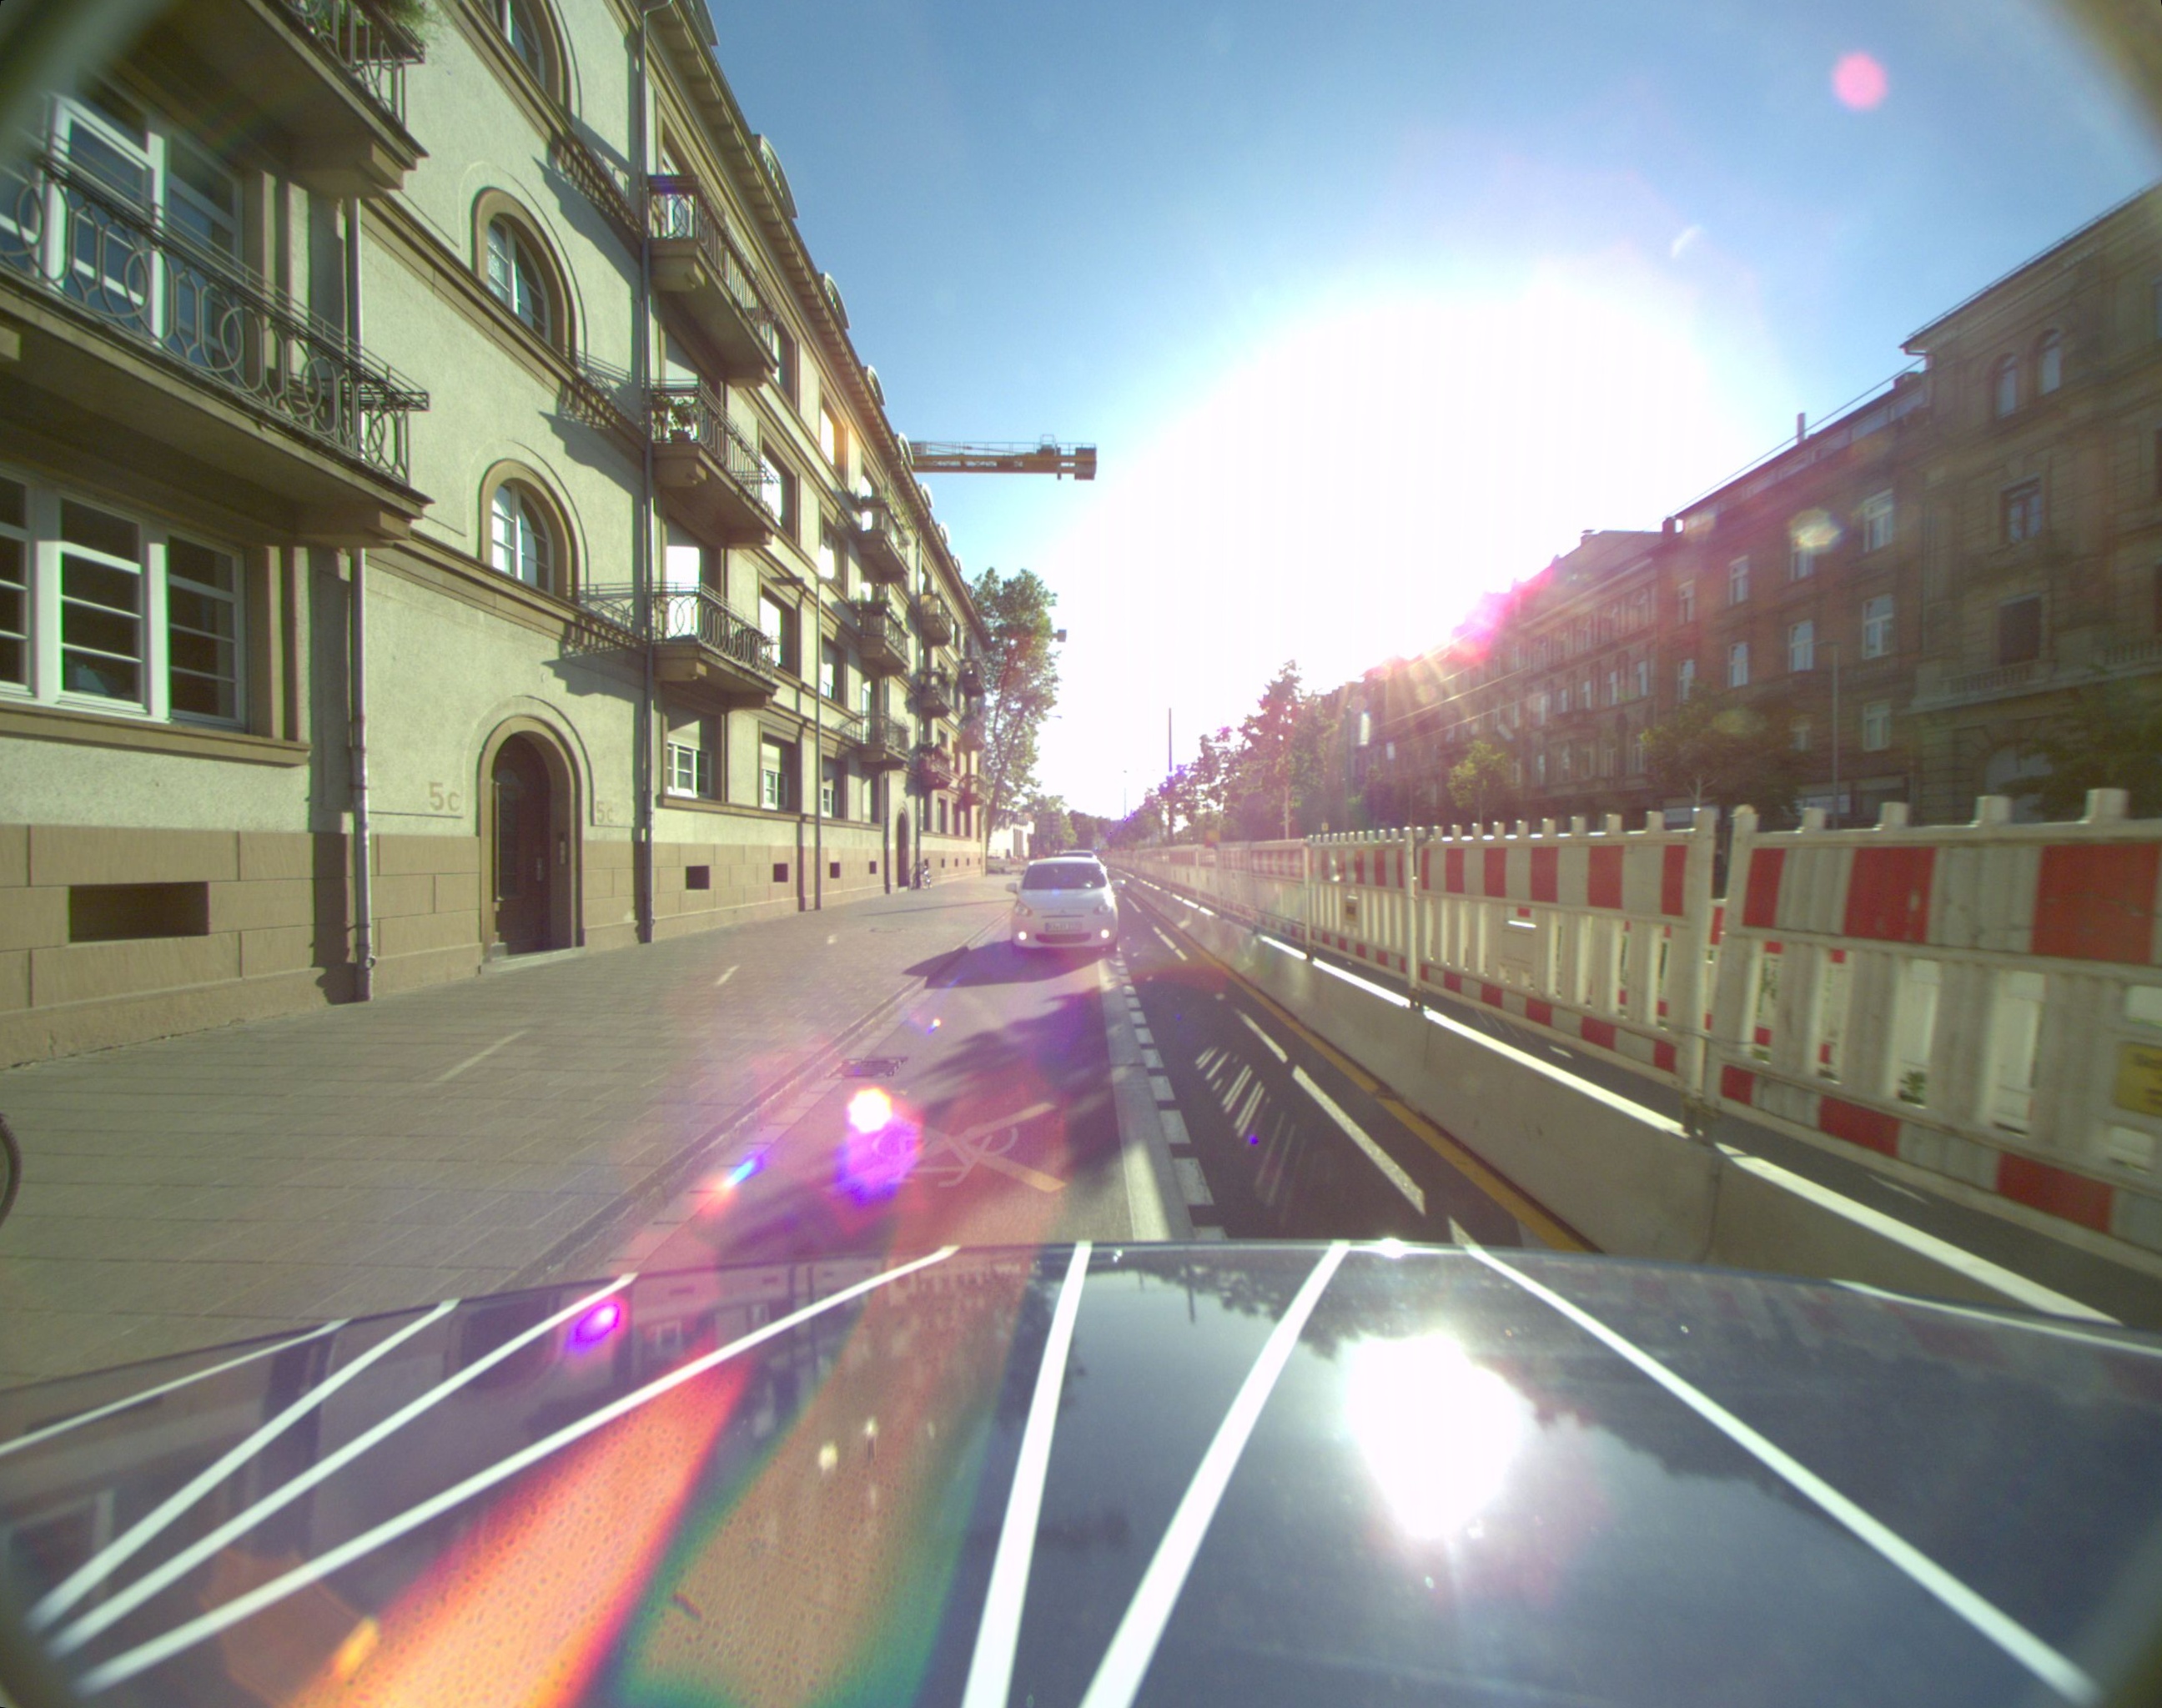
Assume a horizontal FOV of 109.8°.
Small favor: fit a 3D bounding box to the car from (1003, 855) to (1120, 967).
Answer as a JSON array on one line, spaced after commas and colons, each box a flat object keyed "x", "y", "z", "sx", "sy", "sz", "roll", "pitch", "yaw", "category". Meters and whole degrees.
[{"x": -0.247, "y": 0.828, "z": 13.212, "sx": 1.634, "sy": 1.500, "sz": 4.349, "roll": -2, "pitch": 1, "yaw": 1, "category": "car"}]

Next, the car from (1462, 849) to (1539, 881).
[{"x": 23.588, "y": 0.583, "z": 42.938, "sx": 1.943, "sy": 1.648, "sz": 4.545, "roll": -2, "pitch": 0, "yaw": 2, "category": "car"}]

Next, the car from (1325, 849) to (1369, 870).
[{"x": 22.870, "y": 0.445, "z": 65.439, "sx": 1.999, "sy": 1.688, "sz": 4.887, "roll": -2, "pitch": 0, "yaw": 0, "category": "car"}]

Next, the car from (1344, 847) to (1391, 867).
[{"x": 22.347, "y": 0.180, "z": 59.375, "sx": 1.999, "sy": 1.430, "sz": 4.308, "roll": -2, "pitch": 0, "yaw": 0, "category": "car"}]

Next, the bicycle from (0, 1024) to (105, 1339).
[{"x": -3.835, "y": 1.081, "z": 1.573, "sx": 0.769, "sy": 0.947, "sz": 2.198, "roll": 0, "pitch": 1, "yaw": 0, "category": "bicycle"}]

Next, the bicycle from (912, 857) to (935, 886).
[{"x": -6.268, "y": 0.679, "z": 30.308, "sx": 0.419, "sy": 1.089, "sz": 2.198, "roll": 0, "pitch": 1, "yaw": 1, "category": "bicycle"}]

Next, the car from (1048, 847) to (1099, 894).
[{"x": -0.279, "y": 0.622, "z": 31.305, "sx": 1.900, "sy": 1.730, "sz": 4.000, "roll": -3, "pitch": 0, "yaw": 0, "category": "car"}]
